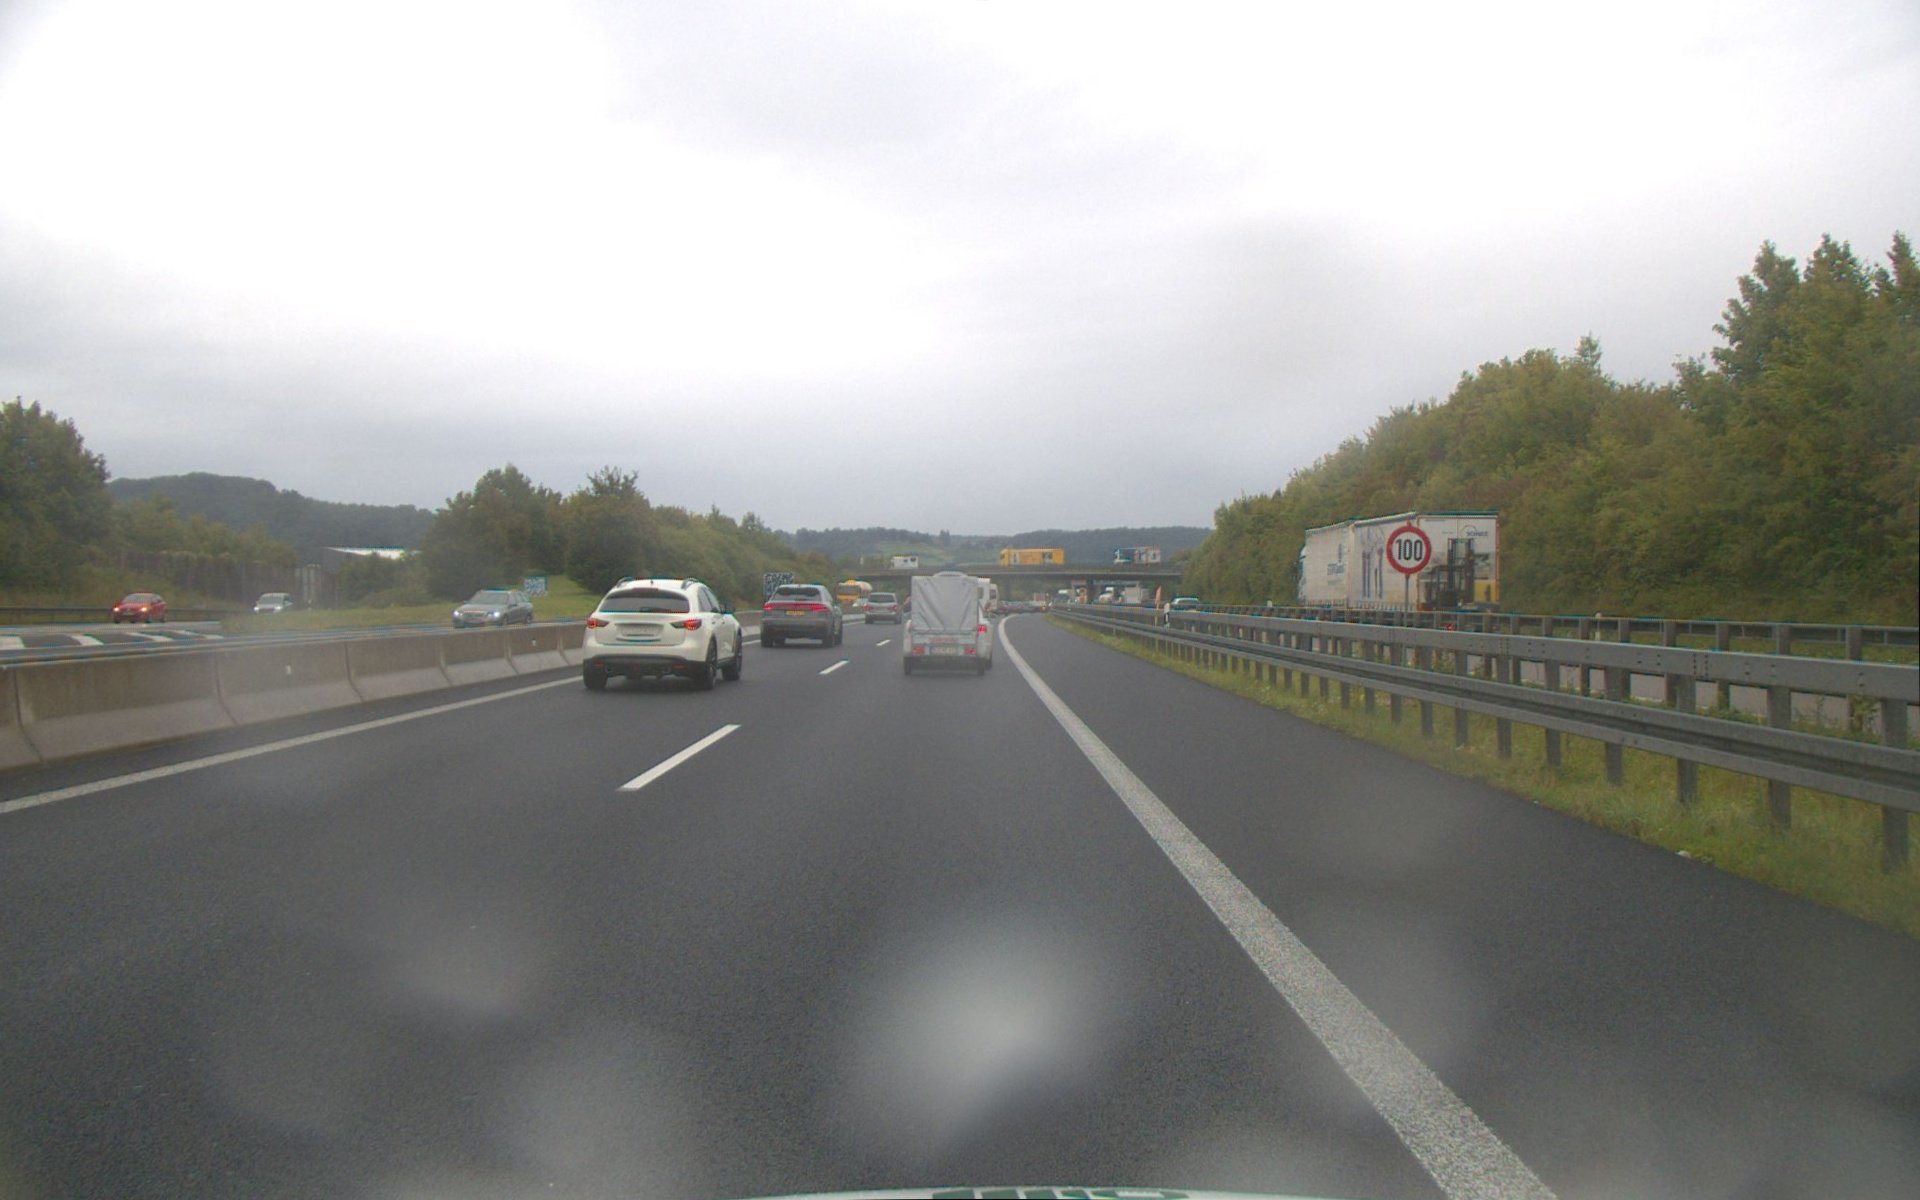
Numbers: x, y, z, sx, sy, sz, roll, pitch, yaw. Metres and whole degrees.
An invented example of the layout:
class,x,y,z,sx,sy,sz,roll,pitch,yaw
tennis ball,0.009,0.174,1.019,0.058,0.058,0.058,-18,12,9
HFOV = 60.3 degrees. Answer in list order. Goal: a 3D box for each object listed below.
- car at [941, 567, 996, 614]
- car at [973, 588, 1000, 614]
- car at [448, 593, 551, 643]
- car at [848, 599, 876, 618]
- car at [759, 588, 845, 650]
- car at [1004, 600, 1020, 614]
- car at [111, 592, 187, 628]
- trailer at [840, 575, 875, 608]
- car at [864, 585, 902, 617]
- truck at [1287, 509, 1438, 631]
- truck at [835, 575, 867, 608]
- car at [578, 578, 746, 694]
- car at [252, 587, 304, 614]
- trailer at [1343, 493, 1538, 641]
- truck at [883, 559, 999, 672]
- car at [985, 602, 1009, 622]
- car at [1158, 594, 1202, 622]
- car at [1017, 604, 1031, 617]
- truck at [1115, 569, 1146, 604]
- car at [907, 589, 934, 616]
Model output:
class,x,y,z,sx,sy,sz,roll,pitch,yaw
car,0.557,-0.557,97.129,2.954,2.662,6.077,0,0,2
car,2.175,0.112,135.407,1.953,2.071,4.150,1,0,-2
car,-17.049,0.627,61.506,2.134,1.725,5.252,0,0,3
car,-9.364,0.792,157.645,2.134,1.725,4.866,0,0,3
car,-4.395,0.497,46.671,2.130,1.660,4.499,0,0,-2
car,6.570,0.869,209.383,1.952,1.780,4.001,1,0,2
car,-40.608,0.476,82.927,2.140,1.725,4.618,0,0,-9
trailer,-11.356,-0.909,184.163,2.704,3.458,11.451,1,0,2
car,-3.998,0.046,86.320,1.862,1.641,4.016,0,0,-1
truck,15.438,-1.103,64.429,3.366,4.364,10.418,0,0,0
truck,-11.663,-0.920,177.719,2.704,3.458,5.847,1,0,2
car,-4.582,0.513,26.052,1.936,1.668,4.499,0,0,-2
car,-45.587,0.025,110.594,2.139,1.725,4.560,0,0,-8
trailer,15.378,-1.015,53.992,3.366,4.364,10.454,0,0,0
truck,-0.255,0.256,33.350,1.977,2.020,7.215,0,0,2
car,3.436,1.147,154.393,1.953,1.780,3.998,1,0,-2
car,11.832,0.435,89.249,1.822,1.472,4.157,0,0,0
car,9.177,1.549,237.681,1.952,1.780,4.001,1,0,3
truck,26.055,-2.057,253.464,4.009,5.193,10.466,0,0,2
car,-2.772,0.135,115.758,1.804,1.851,4.000,0,0,-1
